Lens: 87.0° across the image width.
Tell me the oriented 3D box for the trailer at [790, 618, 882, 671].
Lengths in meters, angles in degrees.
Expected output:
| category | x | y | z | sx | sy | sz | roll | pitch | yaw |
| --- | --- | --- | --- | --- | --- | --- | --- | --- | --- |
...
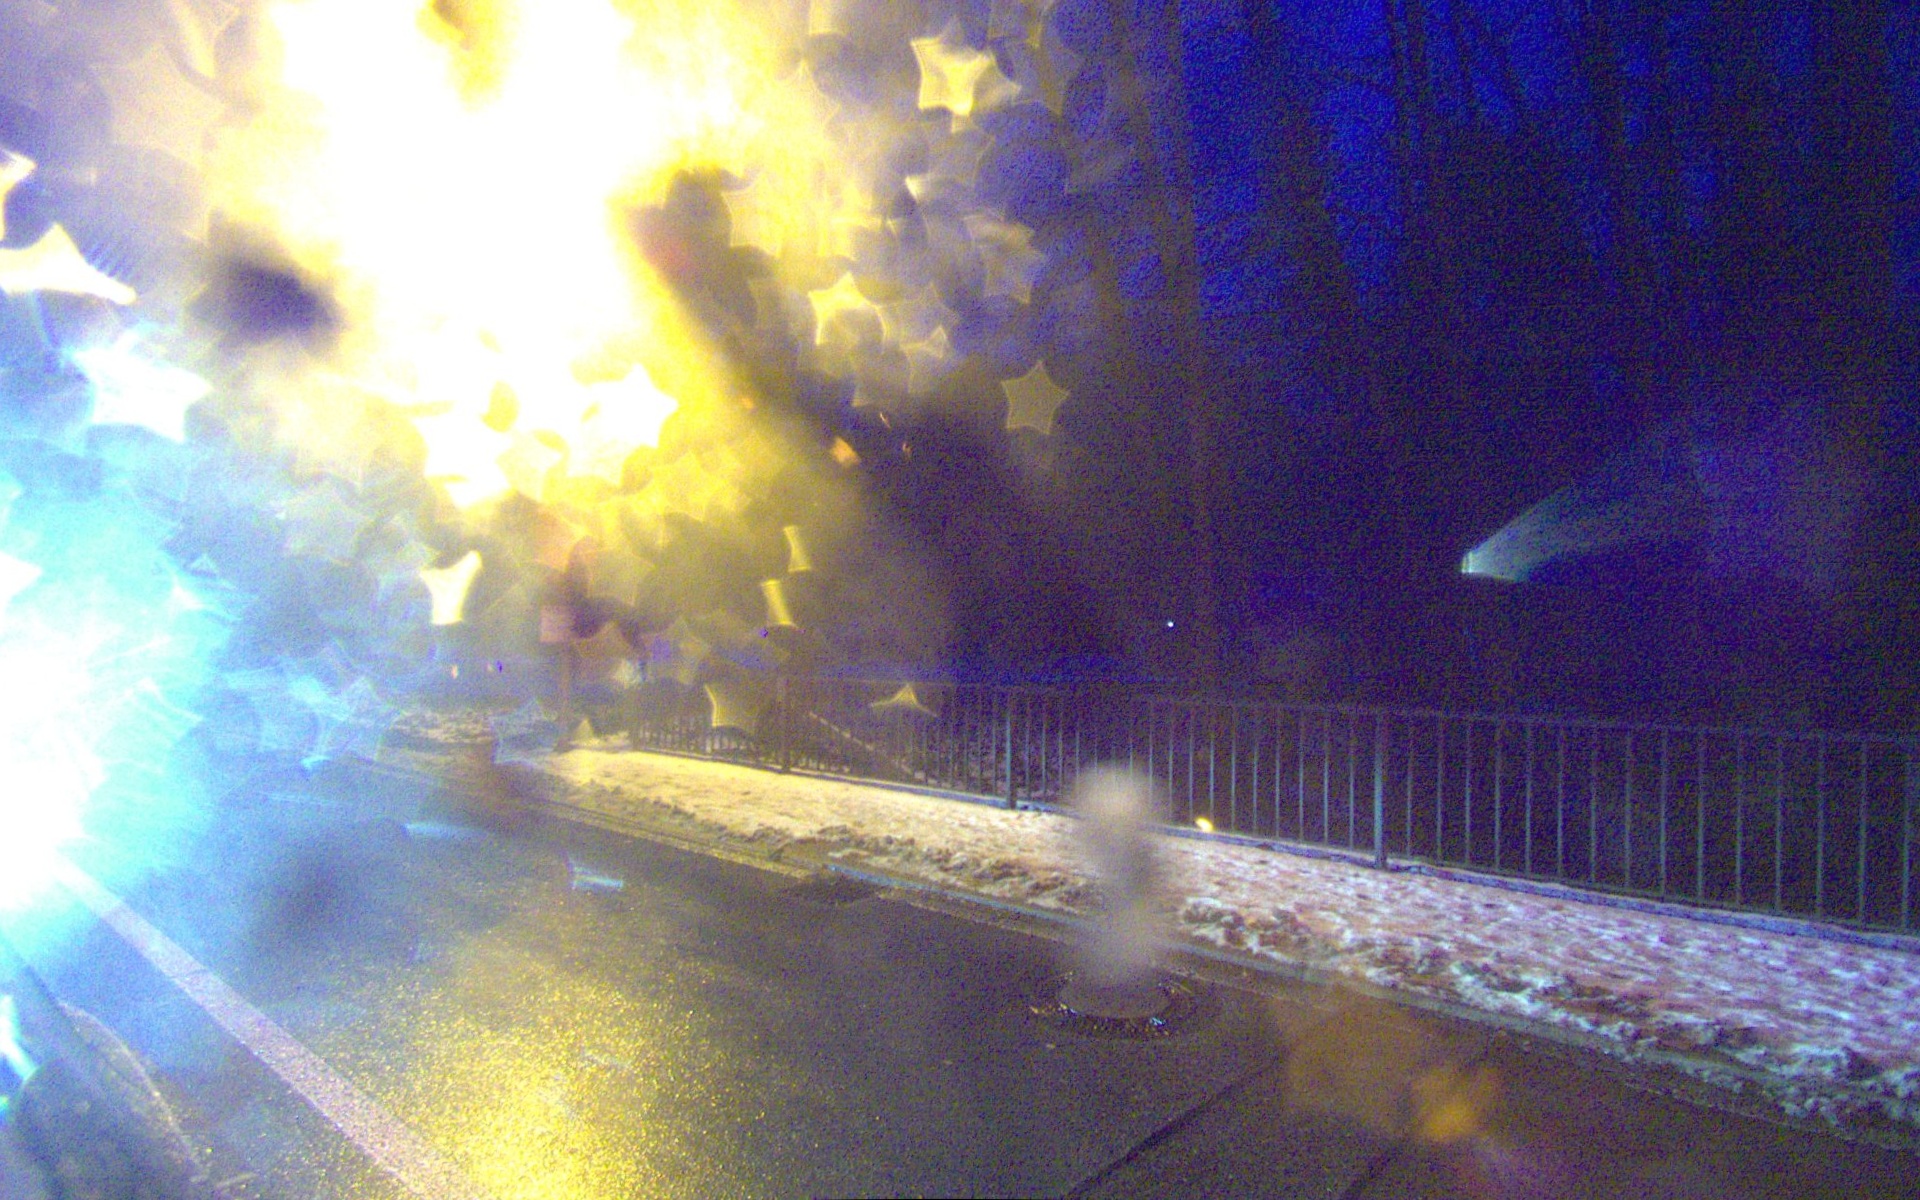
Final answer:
| category | x | y | z | sx | sy | sz | roll | pitch | yaw |
| --- | --- | --- | --- | --- | --- | --- | --- | --- | --- |
| trailer | -5.844 | 2.110 | 47.785 | 3.745 | 2.234 | 1.980 | 4 | -2 | -31 |
